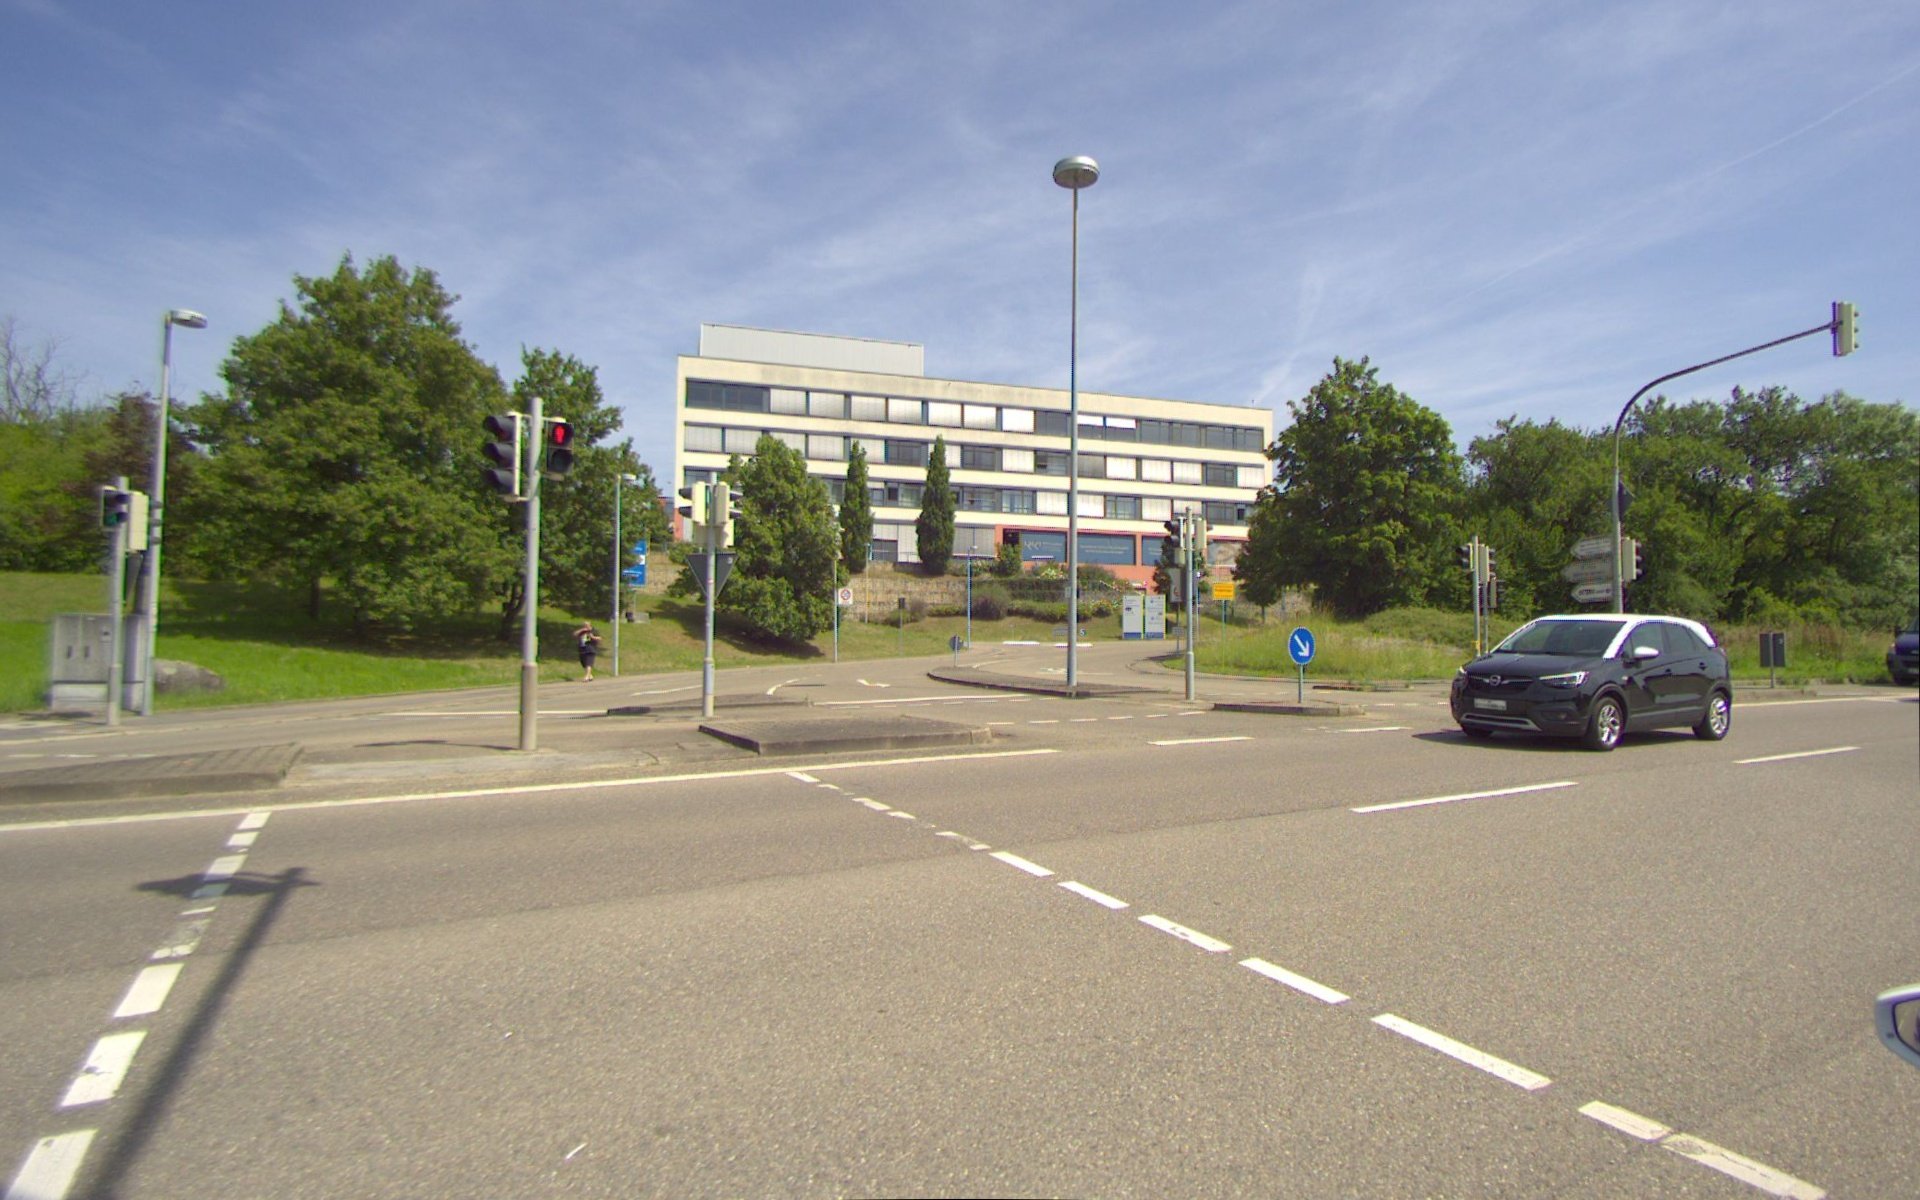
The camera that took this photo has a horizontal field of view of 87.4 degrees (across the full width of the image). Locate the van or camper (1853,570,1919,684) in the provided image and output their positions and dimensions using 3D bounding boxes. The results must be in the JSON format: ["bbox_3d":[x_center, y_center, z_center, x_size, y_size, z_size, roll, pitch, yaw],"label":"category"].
[{"bbox_3d":[28.180,0.693,27.433,7.128,2.953,2.239,0,-1,-17],"label":"van or camper"}]

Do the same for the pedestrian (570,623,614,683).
[{"bbox_3d":[-10.956,1.563,29.914,0.881,1.759,0.923,1,-1,6],"label":"pedestrian"}]

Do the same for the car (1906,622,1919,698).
[{"bbox_3d":[20.826,1.215,20.071,3.784,1.502,1.700,1,-1,-28],"label":"car"}]

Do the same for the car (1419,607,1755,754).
[{"bbox_3d":[7.991,0.916,12.738,4.141,1.583,1.964,1,-1,-31],"label":"car"}]
